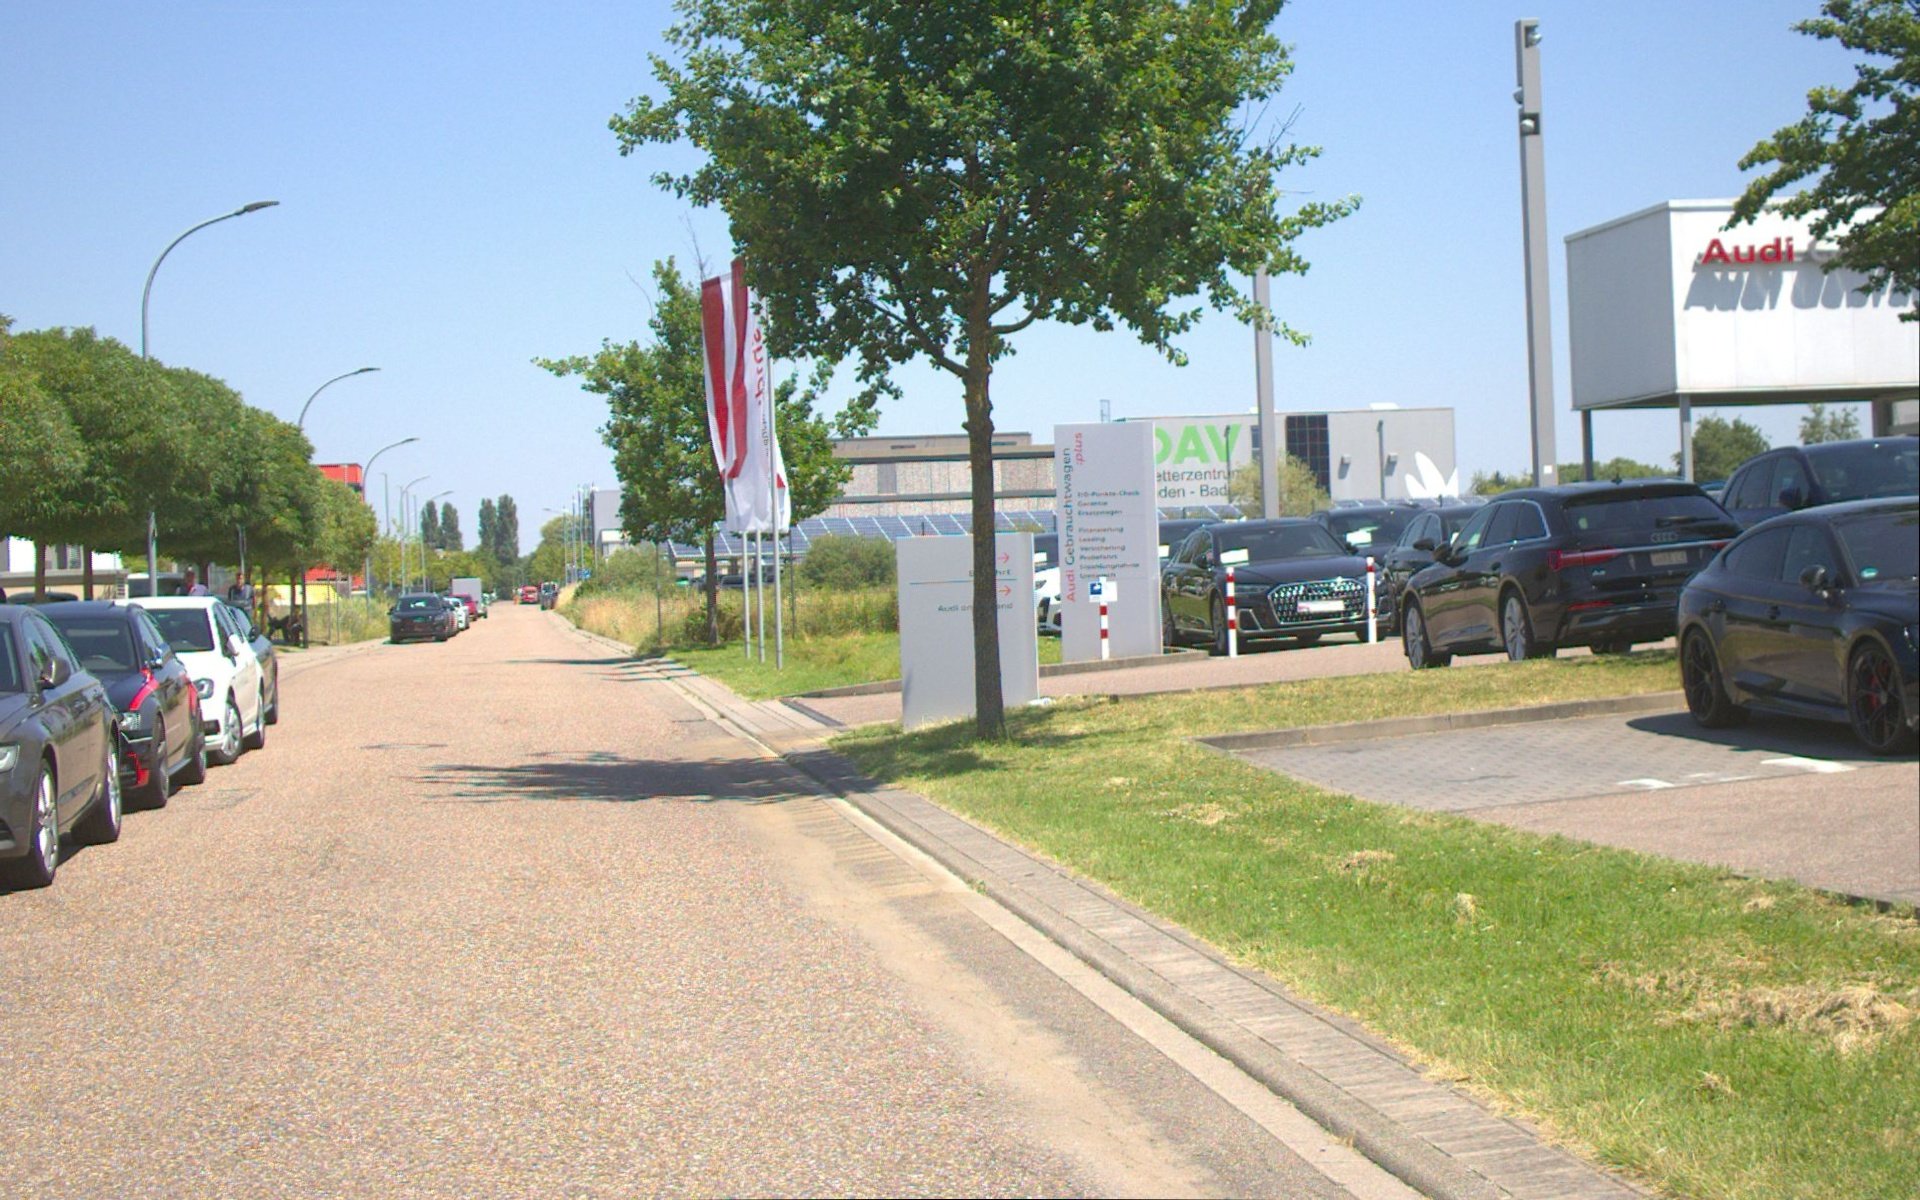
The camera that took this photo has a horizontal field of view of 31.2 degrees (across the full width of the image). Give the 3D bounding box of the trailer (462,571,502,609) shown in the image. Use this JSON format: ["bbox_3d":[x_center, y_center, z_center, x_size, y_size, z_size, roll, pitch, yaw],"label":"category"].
[{"bbox_3d":[-28.454,-0.584,204.760,2.200,2.130,4.286,-2,0,-7],"label":"trailer"}]

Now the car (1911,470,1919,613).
[{"bbox_3d":[9.887,-0.552,28.569,1.961,1.452,4.986,-3,-1,-7],"label":"car"}]

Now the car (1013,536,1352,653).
[{"bbox_3d":[3.206,-0.082,50.097,4.527,1.452,2.032,-3,0,-9],"label":"car"}]

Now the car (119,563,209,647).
[{"bbox_3d":[-20.007,0.119,86.552,1.836,2.012,5.127,1,0,-9],"label":"car"}]

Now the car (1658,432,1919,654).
[{"bbox_3d":[7.581,-0.433,28.436,1.961,1.592,4.986,-3,-1,-7],"label":"car"}]

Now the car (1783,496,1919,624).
[{"bbox_3d":[11.724,-0.527,40.912,2.024,1.452,5.078,-4,1,-7],"label":"car"}]

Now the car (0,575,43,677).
[{"bbox_3d":[-15.901,0.390,54.959,1.765,1.568,4.540,0,0,-7],"label":"car"}]

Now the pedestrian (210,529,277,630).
[{"bbox_3d":[-14.059,-0.405,67.458,0.841,1.966,0.963,0,0,33],"label":"pedestrian"}]

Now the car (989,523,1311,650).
[{"bbox_3d":[2.882,-0.205,52.776,4.527,1.687,2.032,-3,0,-9],"label":"car"}]

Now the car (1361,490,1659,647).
[{"bbox_3d":[6.324,-0.355,40.219,1.896,1.568,5.477,-4,1,-7],"label":"car"}]

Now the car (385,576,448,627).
[{"bbox_3d":[-17.563,0.050,111.292,1.926,1.562,4.191,-2,0,-8],"label":"car"}]

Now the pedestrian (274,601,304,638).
[{"bbox_3d":[-20.174,0.575,103.364,0.750,1.095,0.646,2,0,-3],"label":"pedestrian"}]

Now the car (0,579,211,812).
[{"bbox_3d":[-6.551,0.631,24.689,1.824,1.495,4.521,-2,0,-7],"label":"car"}]

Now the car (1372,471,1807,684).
[{"bbox_3d":[4.940,-0.108,27.807,1.961,1.452,4.986,-3,-1,-7],"label":"car"}]

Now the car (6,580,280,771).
[{"bbox_3d":[-7.083,0.608,30.171,1.824,1.495,4.260,-2,0,-7],"label":"car"}]

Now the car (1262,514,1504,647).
[{"bbox_3d":[5.544,-0.255,45.685,2.024,1.584,4.780,-3,0,-7],"label":"car"}]

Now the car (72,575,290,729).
[{"bbox_3d":[-8.298,0.518,36.970,1.824,1.495,4.526,-2,0,-7],"label":"car"}]

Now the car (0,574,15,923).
[{"bbox_3d":[-4.986,0.696,13.624,1.824,1.565,4.387,-2,0,-8],"label":"car"}]

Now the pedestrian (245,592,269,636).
[{"bbox_3d":[-19.016,0.371,92.976,0.479,1.146,0.555,2,-3,3],"label":"pedestrian"}]

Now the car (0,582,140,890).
[{"bbox_3d":[-5.719,0.681,18.868,1.824,1.495,4.521,-2,0,-7],"label":"car"}]

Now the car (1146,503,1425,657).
[{"bbox_3d":[3.644,-0.222,39.554,2.024,1.509,5.240,-4,1,-7],"label":"car"}]

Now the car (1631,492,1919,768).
[{"bbox_3d":[5.753,0.090,20.470,1.961,1.362,4.722,-5,2,-7],"label":"car"}]

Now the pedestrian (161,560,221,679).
[{"bbox_3d":[-11.845,0.298,52.988,0.744,1.795,1.135,1,0,-5],"label":"pedestrian"}]
